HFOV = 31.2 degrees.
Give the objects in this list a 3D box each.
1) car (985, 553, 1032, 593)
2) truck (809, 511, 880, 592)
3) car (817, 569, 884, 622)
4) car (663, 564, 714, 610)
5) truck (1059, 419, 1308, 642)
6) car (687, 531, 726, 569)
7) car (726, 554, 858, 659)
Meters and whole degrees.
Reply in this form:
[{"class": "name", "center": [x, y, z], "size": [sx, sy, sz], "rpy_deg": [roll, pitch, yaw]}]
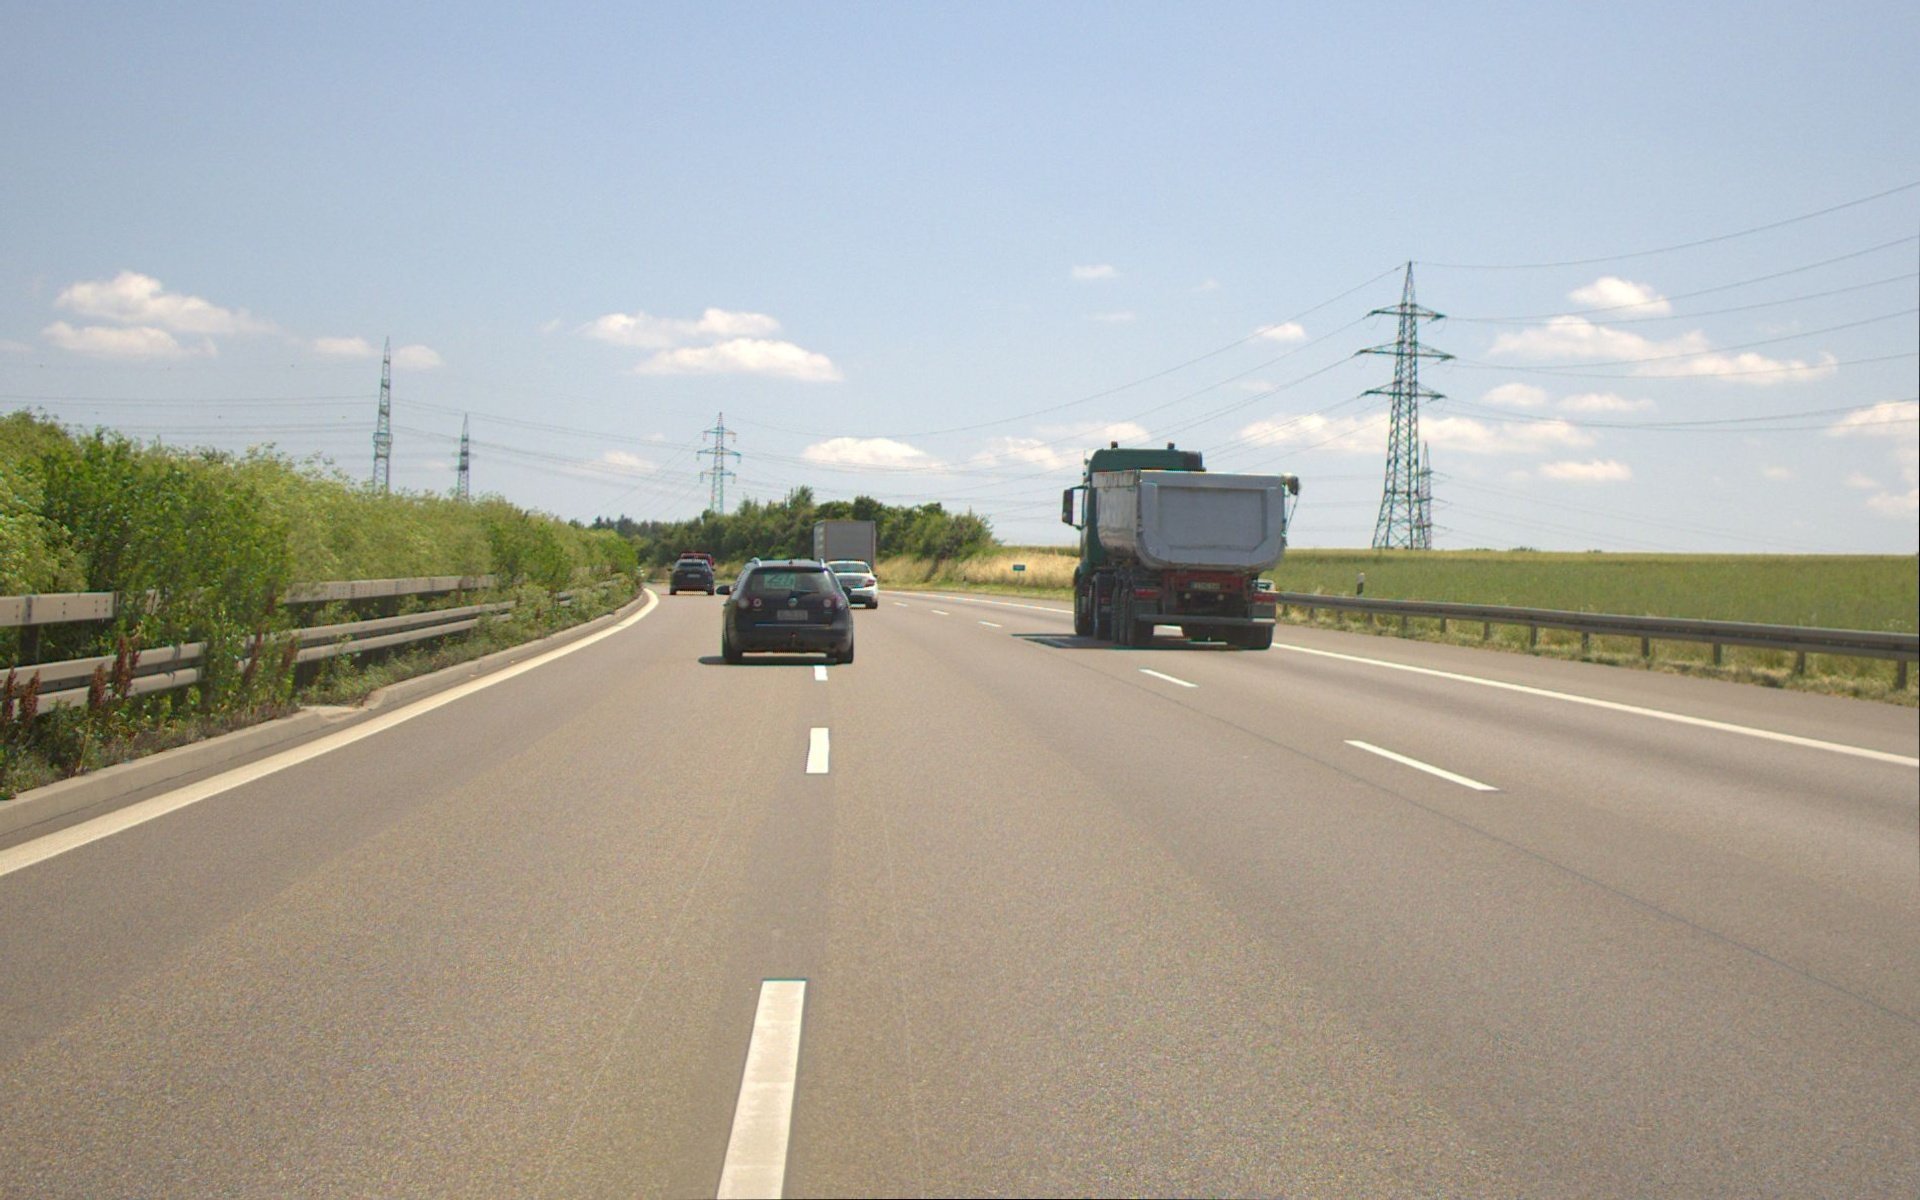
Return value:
[{"class": "car", "center": [2.219, -1.249, 158.495], "size": [1.993, 1.846, 4.000], "rpy_deg": [0, 0, -1]}, {"class": "truck", "center": [-5.926, -2.423, 174.875], "size": [3.220, 3.911, 9.061], "rpy_deg": [1, 0, -4]}, {"class": "car", "center": [-3.302, -0.145, 102.950], "size": [1.819, 1.535, 3.915], "rpy_deg": [0, 0, -5]}, {"class": "car", "center": [-11.070, -0.536, 140.453], "size": [1.993, 1.853, 4.001], "rpy_deg": [1, 0, -4]}, {"class": "truck", "center": [3.934, -1.227, 63.984], "size": [2.865, 3.711, 12.765], "rpy_deg": [0, 0, -4]}, {"class": "car", "center": [-13.026, -2.543, 176.987], "size": [1.901, 1.919, 4.000], "rpy_deg": [0, 0, -3]}, {"class": "car", "center": [-2.354, 0.073, 48.939], "size": [1.756, 1.424, 4.000], "rpy_deg": [0, 0, -1]}]
